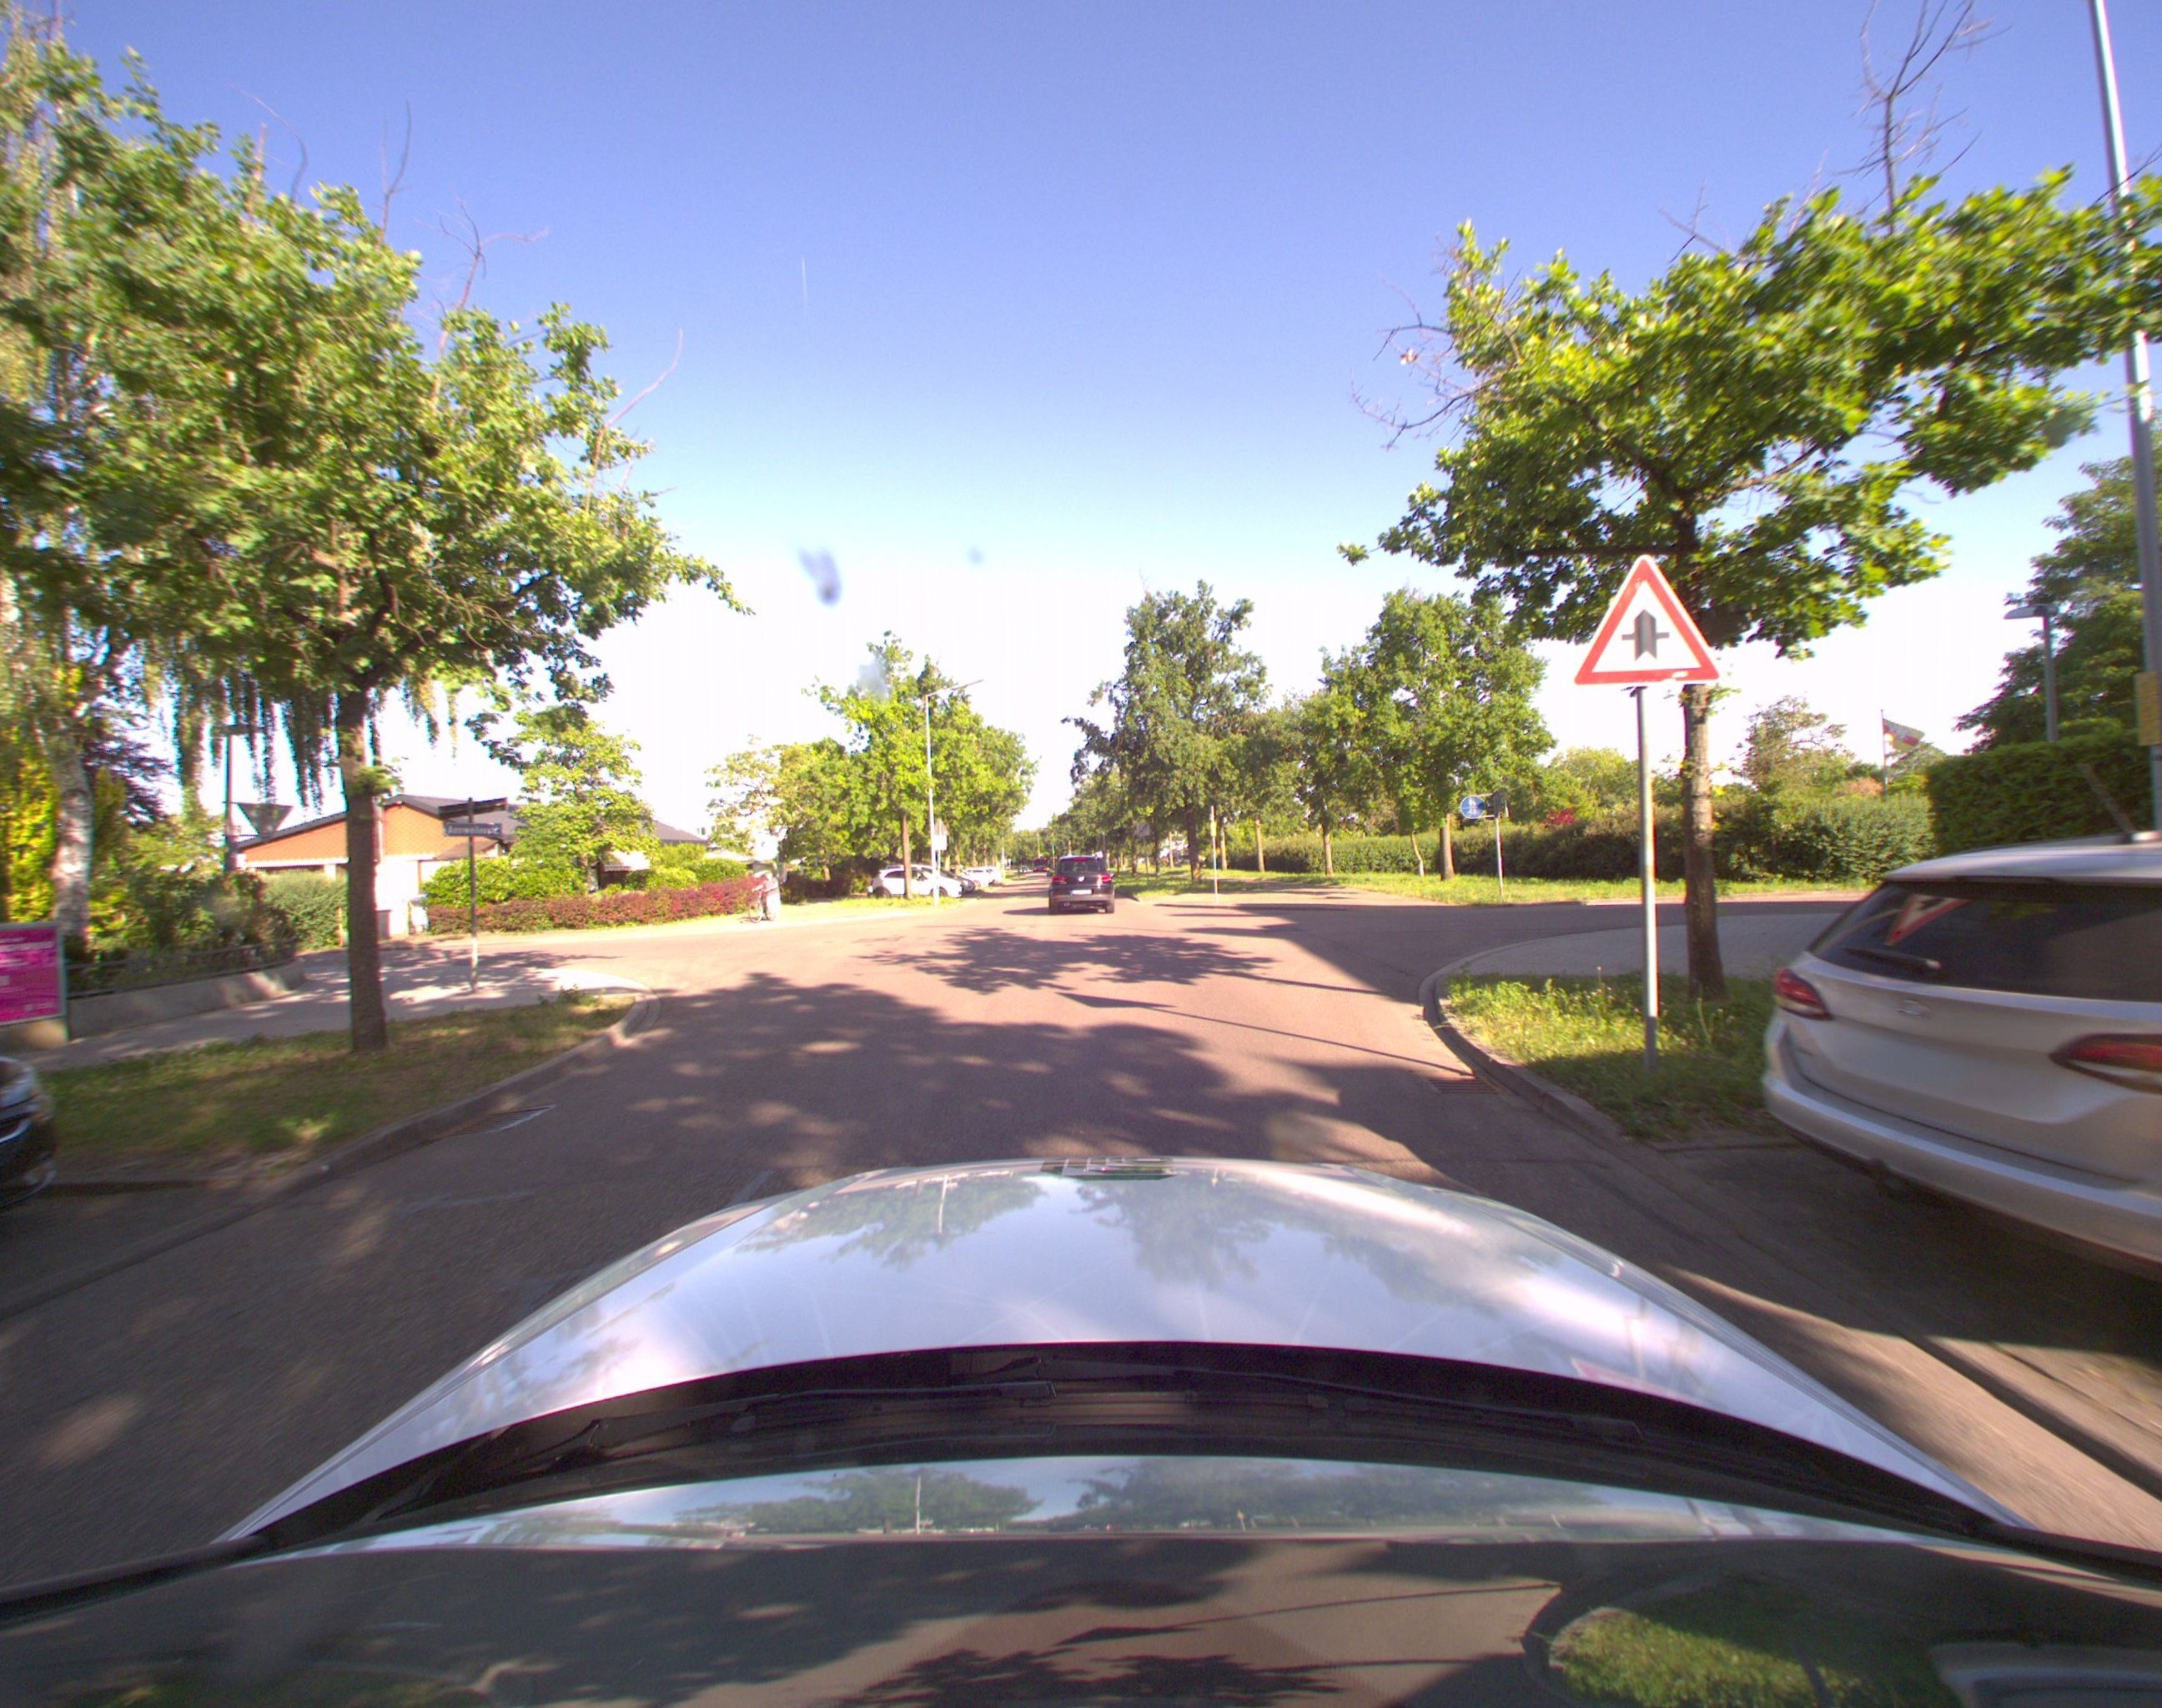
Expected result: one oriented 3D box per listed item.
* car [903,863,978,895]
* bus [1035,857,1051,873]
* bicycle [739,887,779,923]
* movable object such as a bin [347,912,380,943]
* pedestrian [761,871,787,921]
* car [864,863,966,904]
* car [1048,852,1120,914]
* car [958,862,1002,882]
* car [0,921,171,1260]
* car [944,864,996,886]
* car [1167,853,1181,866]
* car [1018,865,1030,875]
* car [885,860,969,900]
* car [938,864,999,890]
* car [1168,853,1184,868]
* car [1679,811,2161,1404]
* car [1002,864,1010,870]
[{"bbox_3d":[-8.200,1.439,47.765,4.005,1.647,1.895,-3,0,-2],"label":"car"},{"bbox_3d":[-7.855,2.322,167.009,2.920,3.004,5.734,-3,-1,-1],"label":"bus"},{"bbox_3d":[-10.248,1.608,25.996,0.445,1.039,1.893,-3,-1,2],"label":"bicycle"},{"bbox_3d":[-22.817,2.340,25.900,0.608,0.936,0.502,-3,-1,13],"label":"movable object such as a bin"},{"bbox_3d":[-9.810,1.325,26.028,0.439,1.557,0.801,-3,-1,2],"label":"pedestrian"},{"bbox_3d":[-7.549,1.342,37.338,4.230,1.623,1.895,-2,-1,-2],"label":"car"},{"bbox_3d":[0.172,0.791,23.878,1.830,1.636,3.962,-2,0,4],"label":"car"},{"bbox_3d":[-9.773,1.740,78.917,4.005,1.647,1.810,-3,0,-2],"label":"car"},{"bbox_3d":[-6.778,1.134,3.525,3.841,1.459,1.715,-2,0,3],"label":"car"},{"bbox_3d":[-9.276,1.733,68.269,4.005,1.647,1.810,-3,0,-2],"label":"car"},{"bbox_3d":[14.342,0.837,125.873,1.983,2.013,4.008,-3,0,7],"label":"car"},{"bbox_3d":[-10.499,2.891,149.400,1.847,1.693,3.953,-3,-1,-1],"label":"car"},{"bbox_3d":[-8.047,1.333,42.828,4.005,1.839,1.895,-3,0,-2],"label":"car"},{"bbox_3d":[-7.954,1.624,57.833,4.005,1.647,1.810,-2,-1,-2],"label":"car"},{"bbox_3d":[13.507,0.977,115.498,2.043,2.014,4.008,-3,-1,7],"label":"car"},{"bbox_3d":[4.932,0.549,2.818,4.417,1.491,1.795,-3,0,-2],"label":"car"},{"bbox_3d":[-22.155,3.837,241.160,1.820,1.551,3.687,-3,0,-1],"label":"car"}]
